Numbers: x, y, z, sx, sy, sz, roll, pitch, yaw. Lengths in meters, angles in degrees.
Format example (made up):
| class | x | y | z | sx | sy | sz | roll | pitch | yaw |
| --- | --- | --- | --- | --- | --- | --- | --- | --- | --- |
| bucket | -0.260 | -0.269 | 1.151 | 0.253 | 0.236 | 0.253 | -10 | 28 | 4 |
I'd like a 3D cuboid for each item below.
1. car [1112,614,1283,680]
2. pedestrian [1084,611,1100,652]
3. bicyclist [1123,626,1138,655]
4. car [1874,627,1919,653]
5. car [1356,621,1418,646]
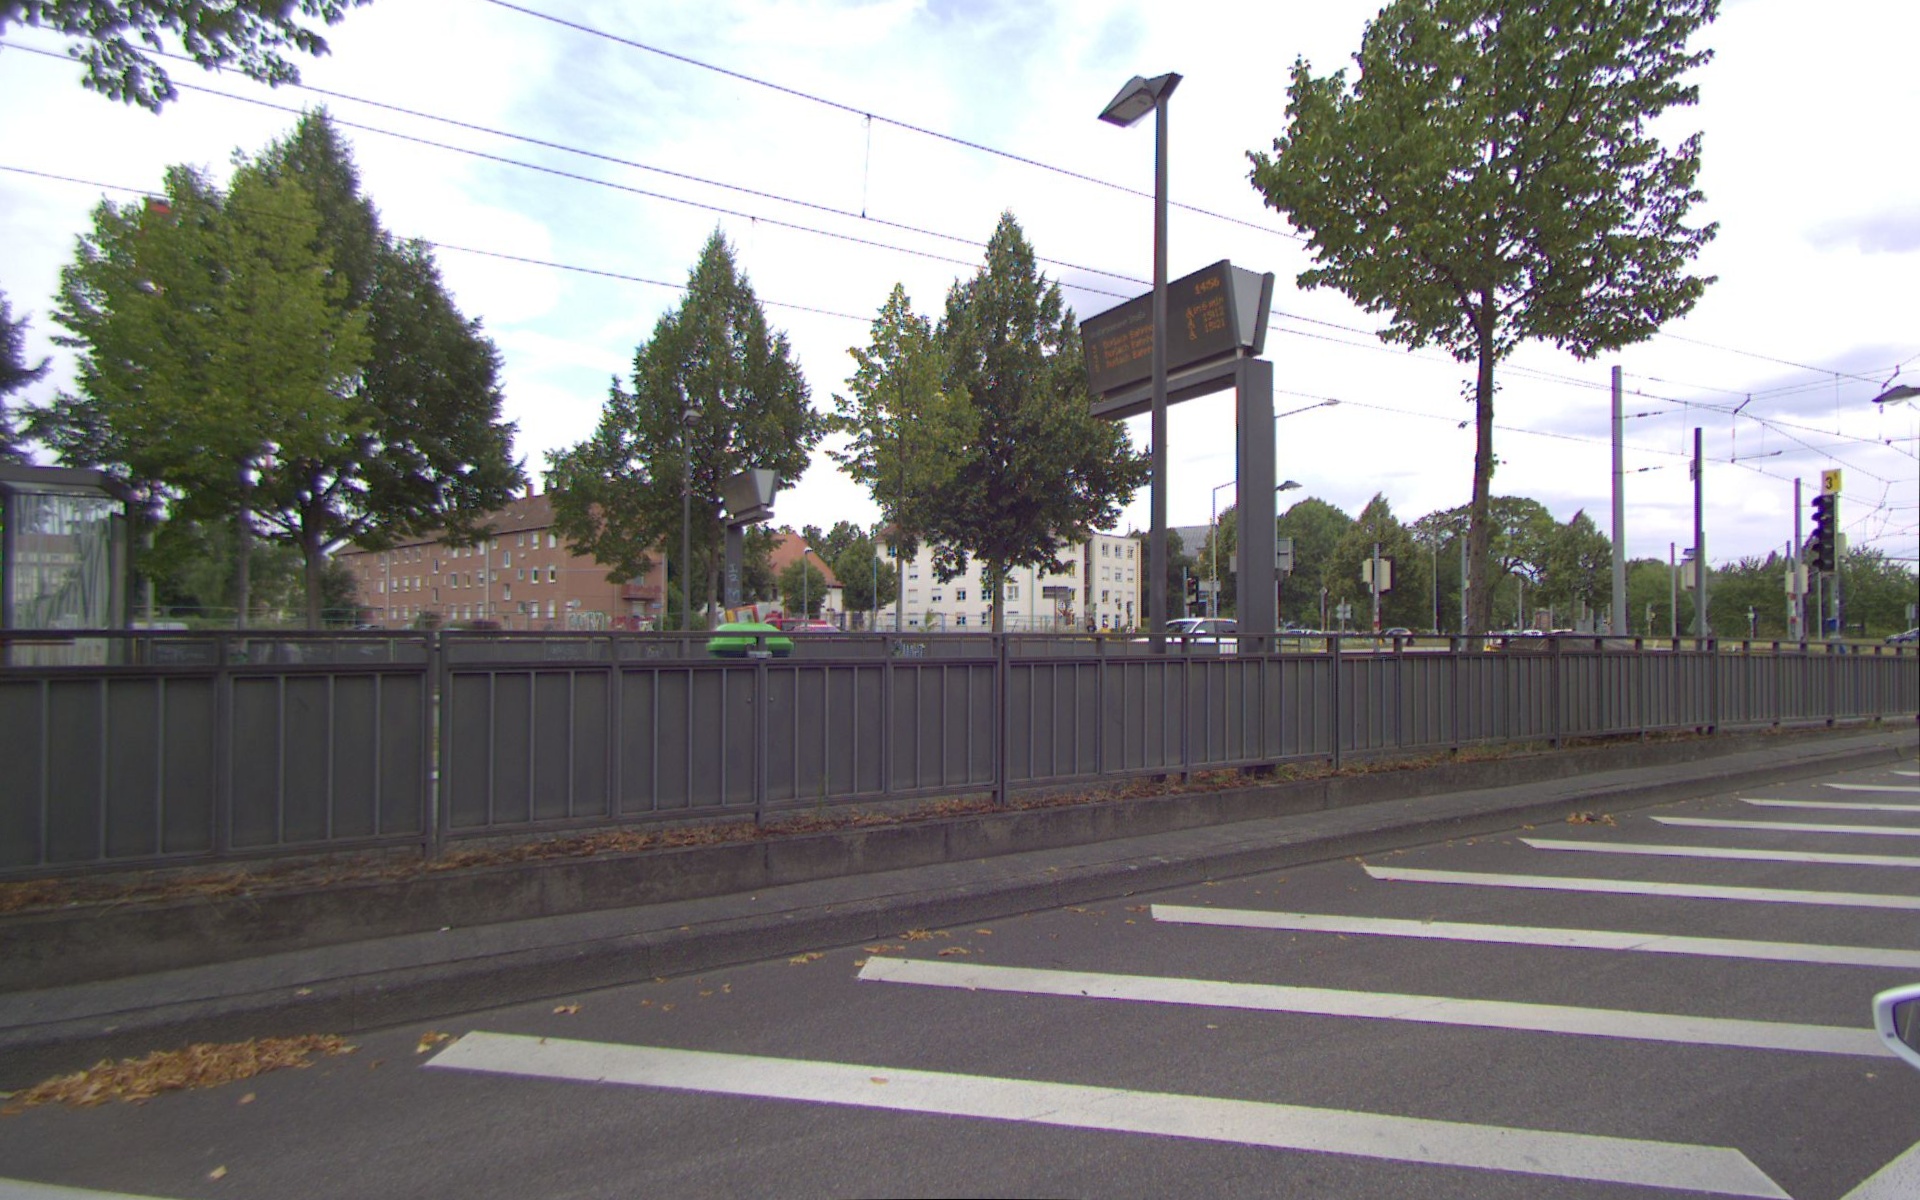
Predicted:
| class | x | y | z | sx | sy | sz | roll | pitch | yaw |
| --- | --- | --- | --- | --- | --- | --- | --- | --- | --- |
| car | 6.395 | 1.216 | 26.980 | 4.333 | 1.639 | 1.984 | 1 | -1 | -30 |
| pedestrian | 6.051 | 1.445 | 45.930 | 0.637 | 1.874 | 0.491 | 0 | -1 | 22 |
| bicyclist | 11.117 | 2.616 | 65.579 | 0.815 | 1.859 | 0.783 | 0 | -1 | 22 |
| car | 68.665 | 2.877 | 72.279 | 3.933 | 1.742 | 1.994 | 2 | 1 | 35 |
| car | 33.176 | 2.566 | 78.089 | 3.920 | 1.664 | 1.999 | 0 | 6 | 1 |
